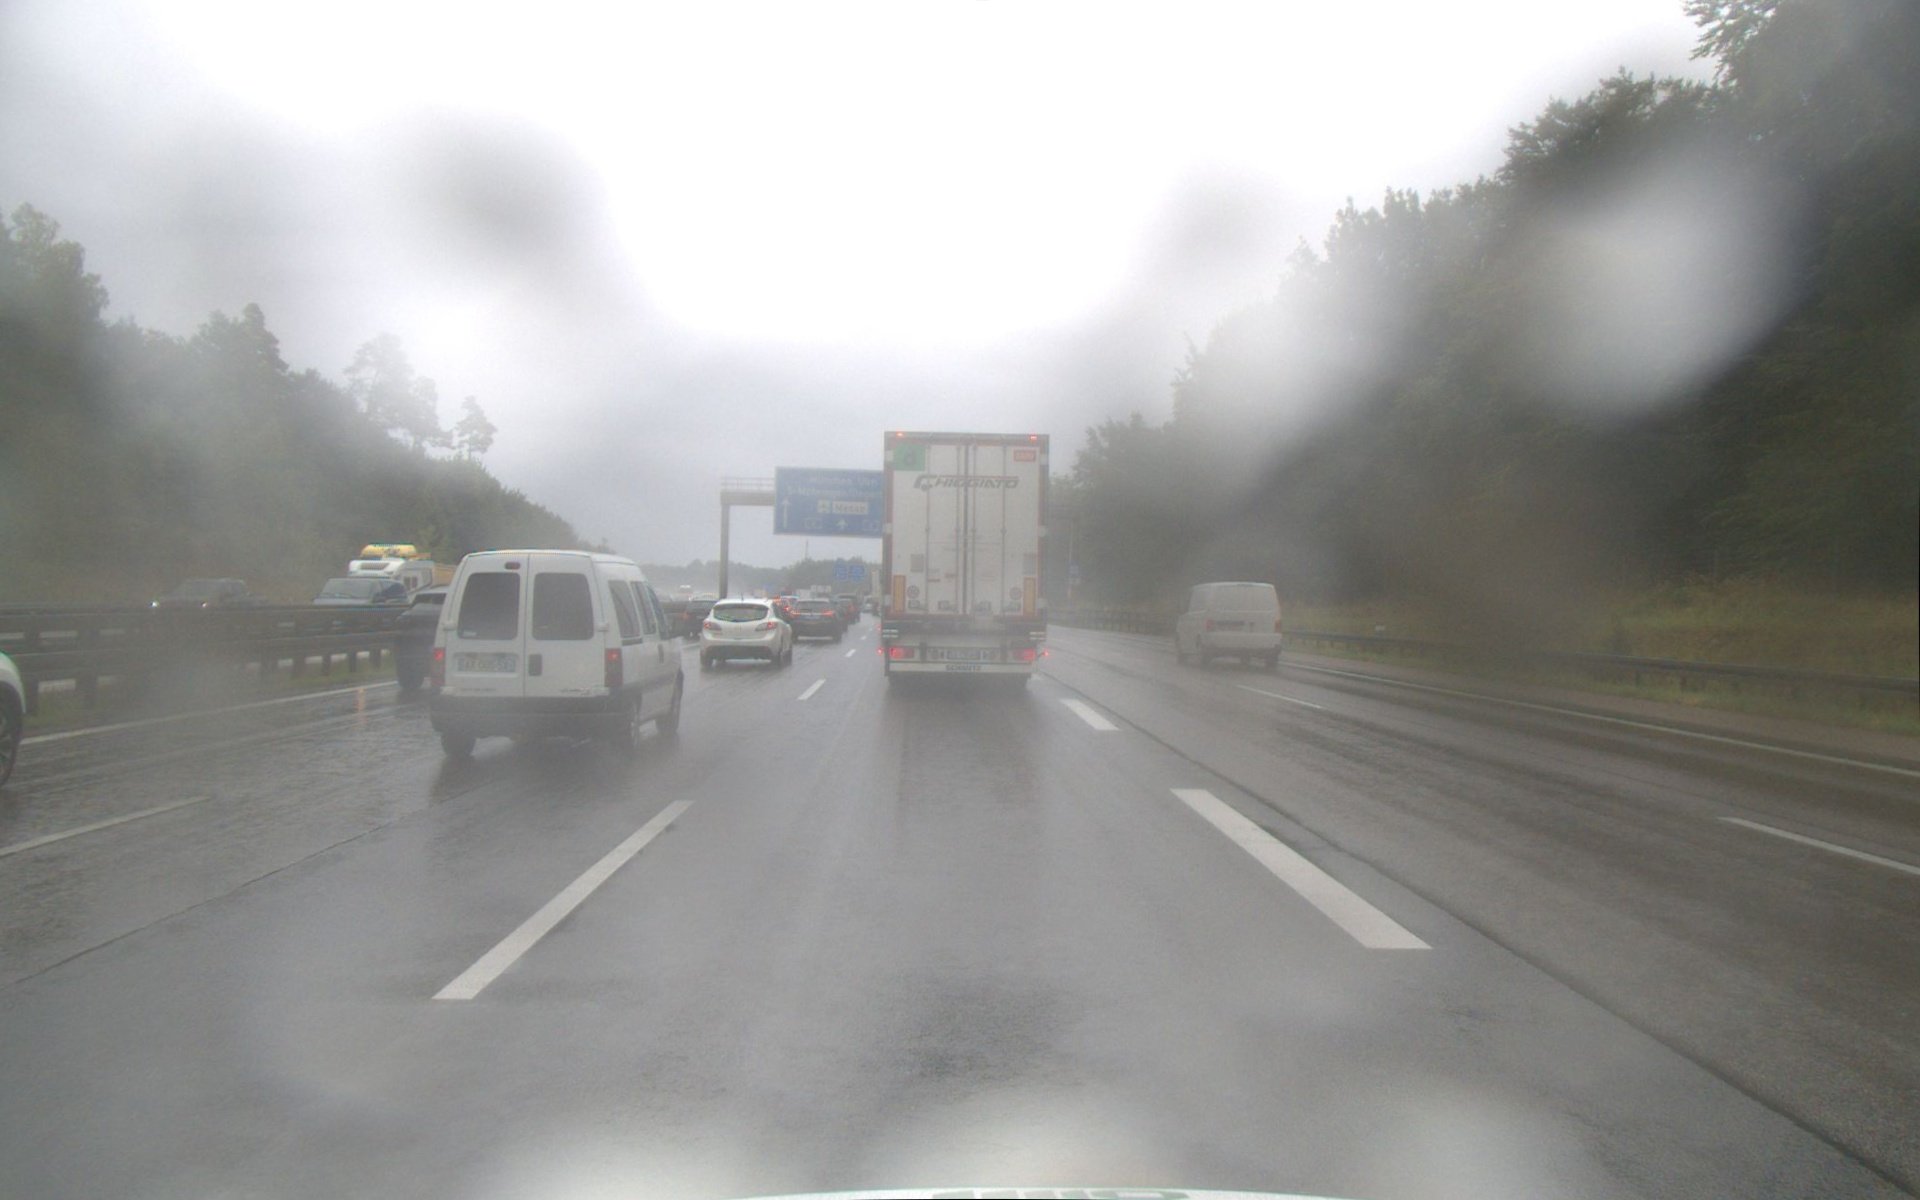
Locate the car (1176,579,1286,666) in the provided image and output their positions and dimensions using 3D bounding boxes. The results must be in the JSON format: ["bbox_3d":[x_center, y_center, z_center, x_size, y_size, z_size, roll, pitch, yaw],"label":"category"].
[{"bbox_3d":[6.475,0.482,39.981,1.949,1.954,4.768,1,0,1],"label":"car"}]

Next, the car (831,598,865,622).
[{"bbox_3d":[-6.615,0.565,98.055,1.808,1.354,4.465,1,0,-2],"label":"car"}]

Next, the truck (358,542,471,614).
[{"bbox_3d":[-28.993,-1.115,88.476,2.468,3.544,11.715,1,0,-2],"label":"truck"}]

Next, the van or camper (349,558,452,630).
[{"bbox_3d":[-24.348,-0.258,72.331,2.123,2.920,7.997,1,0,-3],"label":"van or camper"}]

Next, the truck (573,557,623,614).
[{"bbox_3d":[-26.699,-1.030,122.364,2.489,4.096,6.321,1,0,-3],"label":"truck"}]

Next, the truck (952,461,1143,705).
[{"bbox_3d":[1.414,-0.243,30.462,2.813,3.624,11.303,1,0,1],"label":"truck"}]

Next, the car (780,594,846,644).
[{"bbox_3d":[-5.038,0.620,57.170,1.807,1.619,4.467,1,0,1],"label":"car"}]

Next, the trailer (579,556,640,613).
[{"bbox_3d":[-27.068,-1.138,128.354,2.490,4.096,13.842,1,0,-3],"label":"trailer"}]

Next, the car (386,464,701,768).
[{"bbox_3d":[-4.007,0.124,16.898,2.169,2.618,5.012,1,0,-3],"label":"car"}]

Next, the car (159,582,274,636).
[{"bbox_3d":[-23.079,0.266,51.502,1.808,1.607,3.999,1,0,-1],"label":"car"}]

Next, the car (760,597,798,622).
[{"bbox_3d":[-10.446,0.517,95.560,1.808,1.354,4.465,1,0,-2],"label":"car"}]

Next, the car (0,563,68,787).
[{"bbox_3d":[-7.821,0.540,10.608,1.808,1.619,4.466,1,0,-1],"label":"car"}]

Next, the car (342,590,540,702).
[{"bbox_3d":[-8.277,0.673,26.806,1.808,1.619,4.466,1,0,-1],"label":"car"}]

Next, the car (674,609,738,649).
[{"bbox_3d":[-9.509,1.064,62.141,1.808,1.354,4.465,1,0,-2],"label":"car"}]

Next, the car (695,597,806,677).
[{"bbox_3d":[-4.581,0.769,36.719,1.807,1.619,4.073,1,0,2],"label":"car"}]

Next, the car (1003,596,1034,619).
[{"bbox_3d":[3.841,0.468,108.738,1.754,1.431,4.226,1,0,-2],"label":"car"}]
